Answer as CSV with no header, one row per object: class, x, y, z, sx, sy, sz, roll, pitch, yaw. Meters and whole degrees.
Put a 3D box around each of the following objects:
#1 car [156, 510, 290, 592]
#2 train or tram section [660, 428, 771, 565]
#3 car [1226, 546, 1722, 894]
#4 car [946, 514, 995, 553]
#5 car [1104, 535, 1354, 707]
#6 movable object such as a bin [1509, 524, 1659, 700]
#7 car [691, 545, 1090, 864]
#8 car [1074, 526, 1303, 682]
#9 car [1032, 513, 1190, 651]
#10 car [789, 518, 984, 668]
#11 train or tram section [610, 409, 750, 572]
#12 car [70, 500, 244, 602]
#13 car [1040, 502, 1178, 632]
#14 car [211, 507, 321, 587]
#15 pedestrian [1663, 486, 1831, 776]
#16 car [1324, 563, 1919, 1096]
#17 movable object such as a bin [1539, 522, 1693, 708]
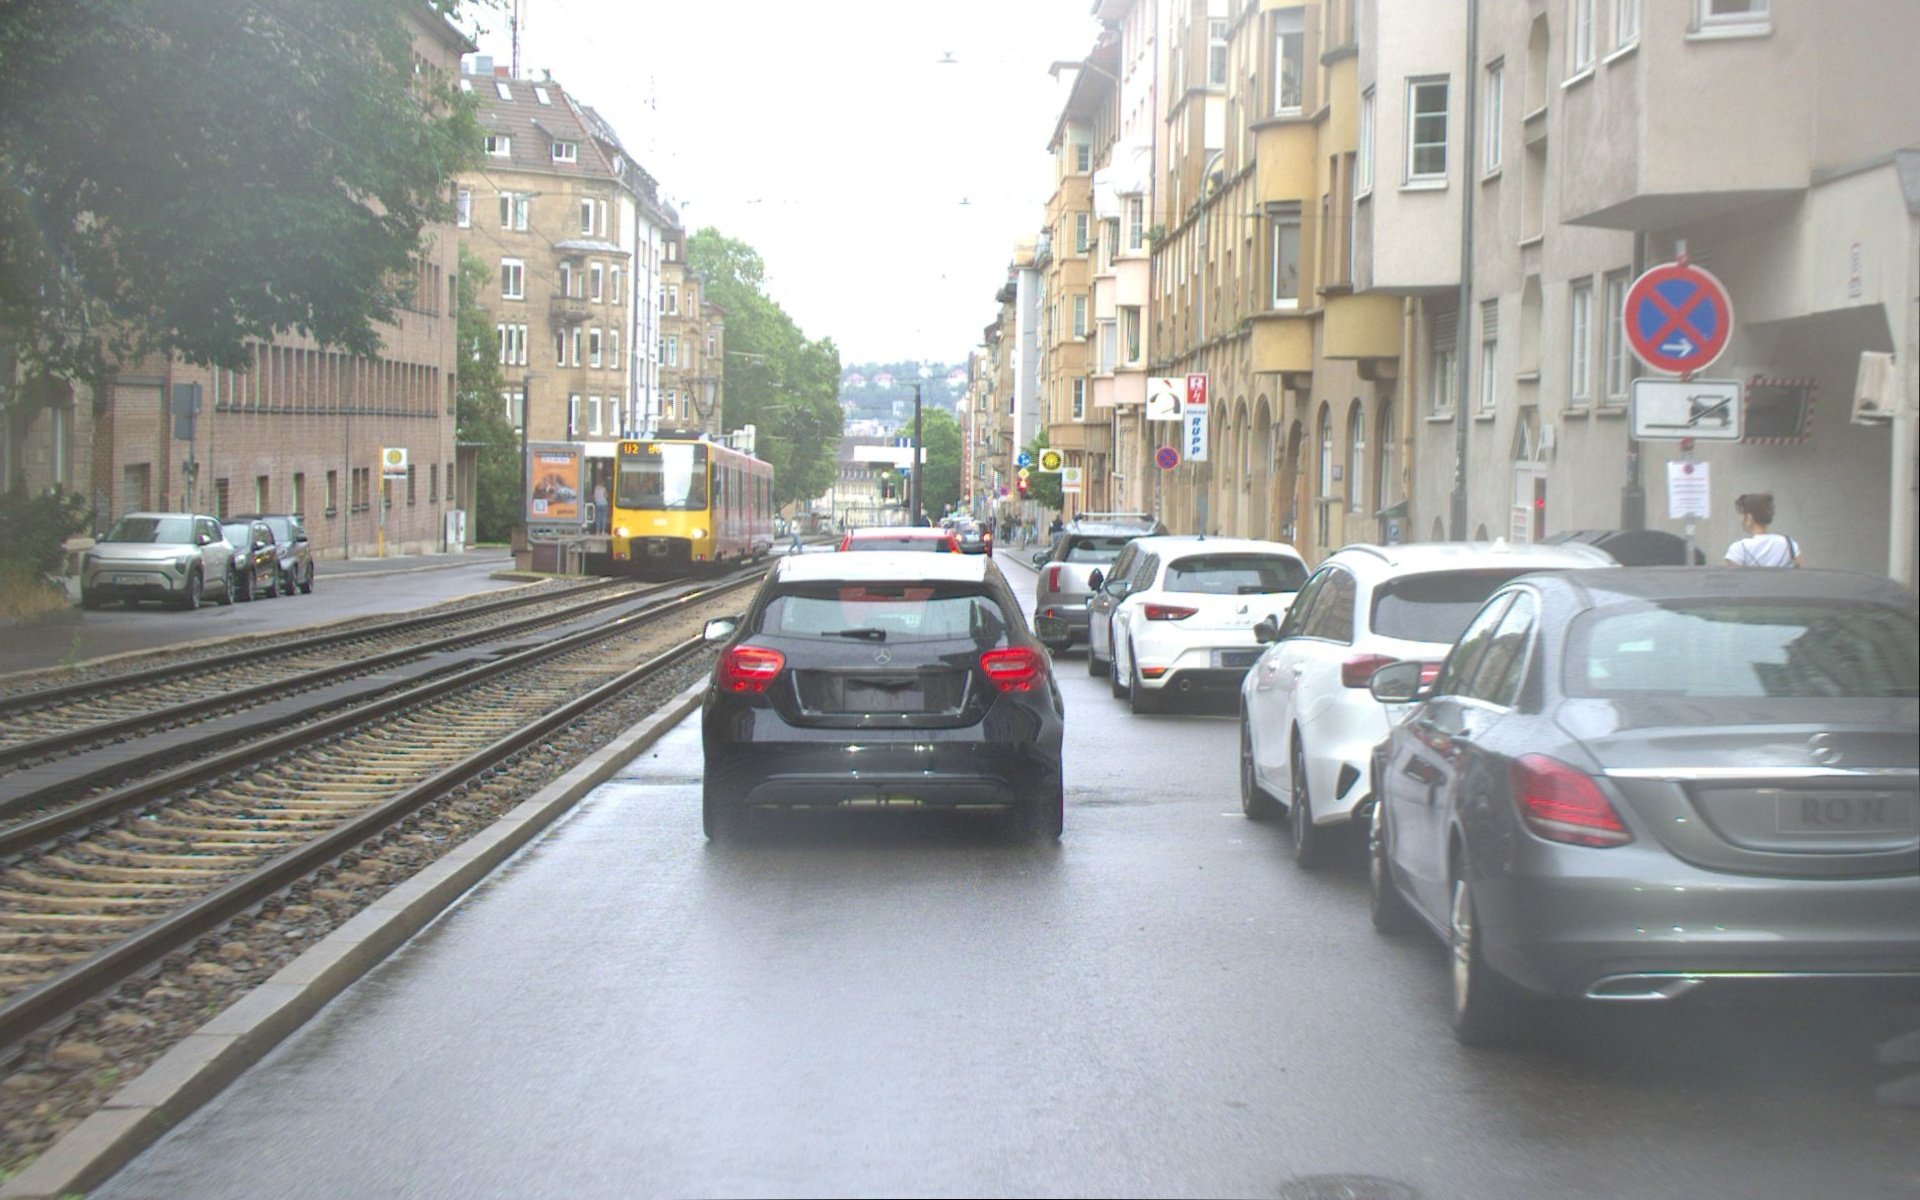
car,-13.383,-0.915,62.563,1.666,1.410,3.688,1,2,-1
train or tram section,-7.726,-3.293,110.399,2.745,4.048,15.663,0,1,-1
car,2.353,0.479,16.901,1.712,1.463,4.774,0,1,0
car,0.465,-2.744,141.395,1.887,1.520,4.245,1,1,2
car,2.266,0.142,29.960,1.789,1.381,4.395,0,1,-1
movable object such as a bin,5.292,0.092,29.231,1.018,1.463,1.323,0,1,-1
car,-0.328,0.454,17.880,1.834,1.448,3.902,1,1,0
car,2.231,0.013,34.629,1.832,1.463,4.376,0,1,-2
car,1.841,-0.242,42.550,1.841,1.602,4.760,0,1,2
car,-0.769,-0.116,37.872,1.993,1.520,4.246,1,1,0
train or tram section,-7.494,-2.949,94.039,2.745,4.048,17.216,0,1,-1
car,-13.380,-0.852,57.504,1.961,1.600,4.329,1,2,-1
car,2.063,-0.472,48.606,1.778,1.744,4.548,0,1,0
car,-13.363,-1.049,66.325,1.572,1.461,3.045,1,2,-2
pedestrian,4.661,0.177,20.396,0.804,1.681,0.754,0,0,-1
car,2.283,0.585,11.536,1.711,1.405,4.817,0,1,1
movable object such as a bin,5.278,0.110,27.735,0.980,1.463,1.273,0,1,-1
